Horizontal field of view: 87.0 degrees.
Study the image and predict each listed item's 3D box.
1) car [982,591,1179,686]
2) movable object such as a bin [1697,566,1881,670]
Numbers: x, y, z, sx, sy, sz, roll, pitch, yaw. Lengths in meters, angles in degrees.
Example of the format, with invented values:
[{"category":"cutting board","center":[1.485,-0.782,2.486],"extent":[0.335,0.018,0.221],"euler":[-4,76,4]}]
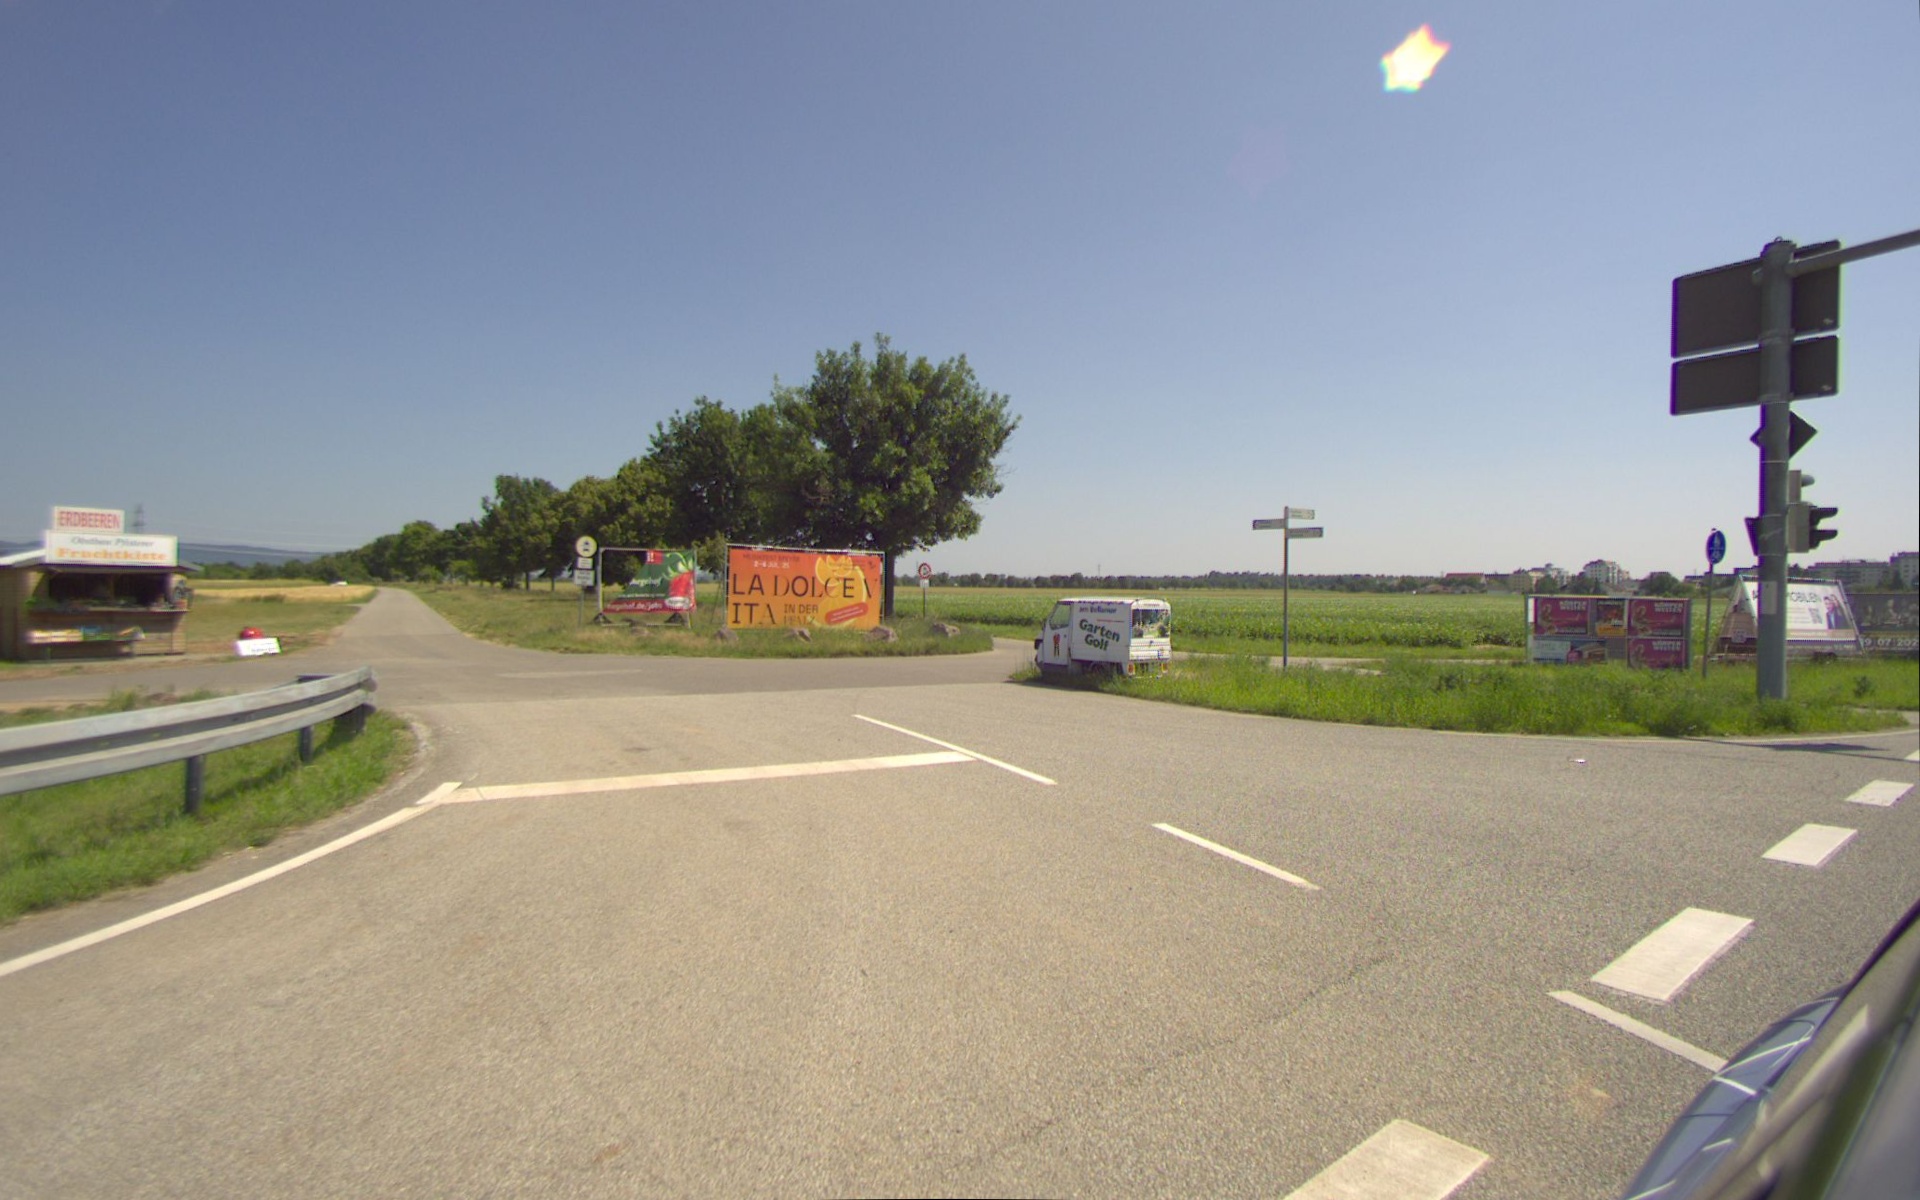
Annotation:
[{"category":"car","center":[2.064,0.609,17.930],"extent":[3.337,1.518,1.378],"euler":[0,0,45]},{"category":"movable object such as a bin","center":[20.526,0.404,25.057],"extent":[4.332,2.393,1.529],"euler":[-1,-1,-21]}]
